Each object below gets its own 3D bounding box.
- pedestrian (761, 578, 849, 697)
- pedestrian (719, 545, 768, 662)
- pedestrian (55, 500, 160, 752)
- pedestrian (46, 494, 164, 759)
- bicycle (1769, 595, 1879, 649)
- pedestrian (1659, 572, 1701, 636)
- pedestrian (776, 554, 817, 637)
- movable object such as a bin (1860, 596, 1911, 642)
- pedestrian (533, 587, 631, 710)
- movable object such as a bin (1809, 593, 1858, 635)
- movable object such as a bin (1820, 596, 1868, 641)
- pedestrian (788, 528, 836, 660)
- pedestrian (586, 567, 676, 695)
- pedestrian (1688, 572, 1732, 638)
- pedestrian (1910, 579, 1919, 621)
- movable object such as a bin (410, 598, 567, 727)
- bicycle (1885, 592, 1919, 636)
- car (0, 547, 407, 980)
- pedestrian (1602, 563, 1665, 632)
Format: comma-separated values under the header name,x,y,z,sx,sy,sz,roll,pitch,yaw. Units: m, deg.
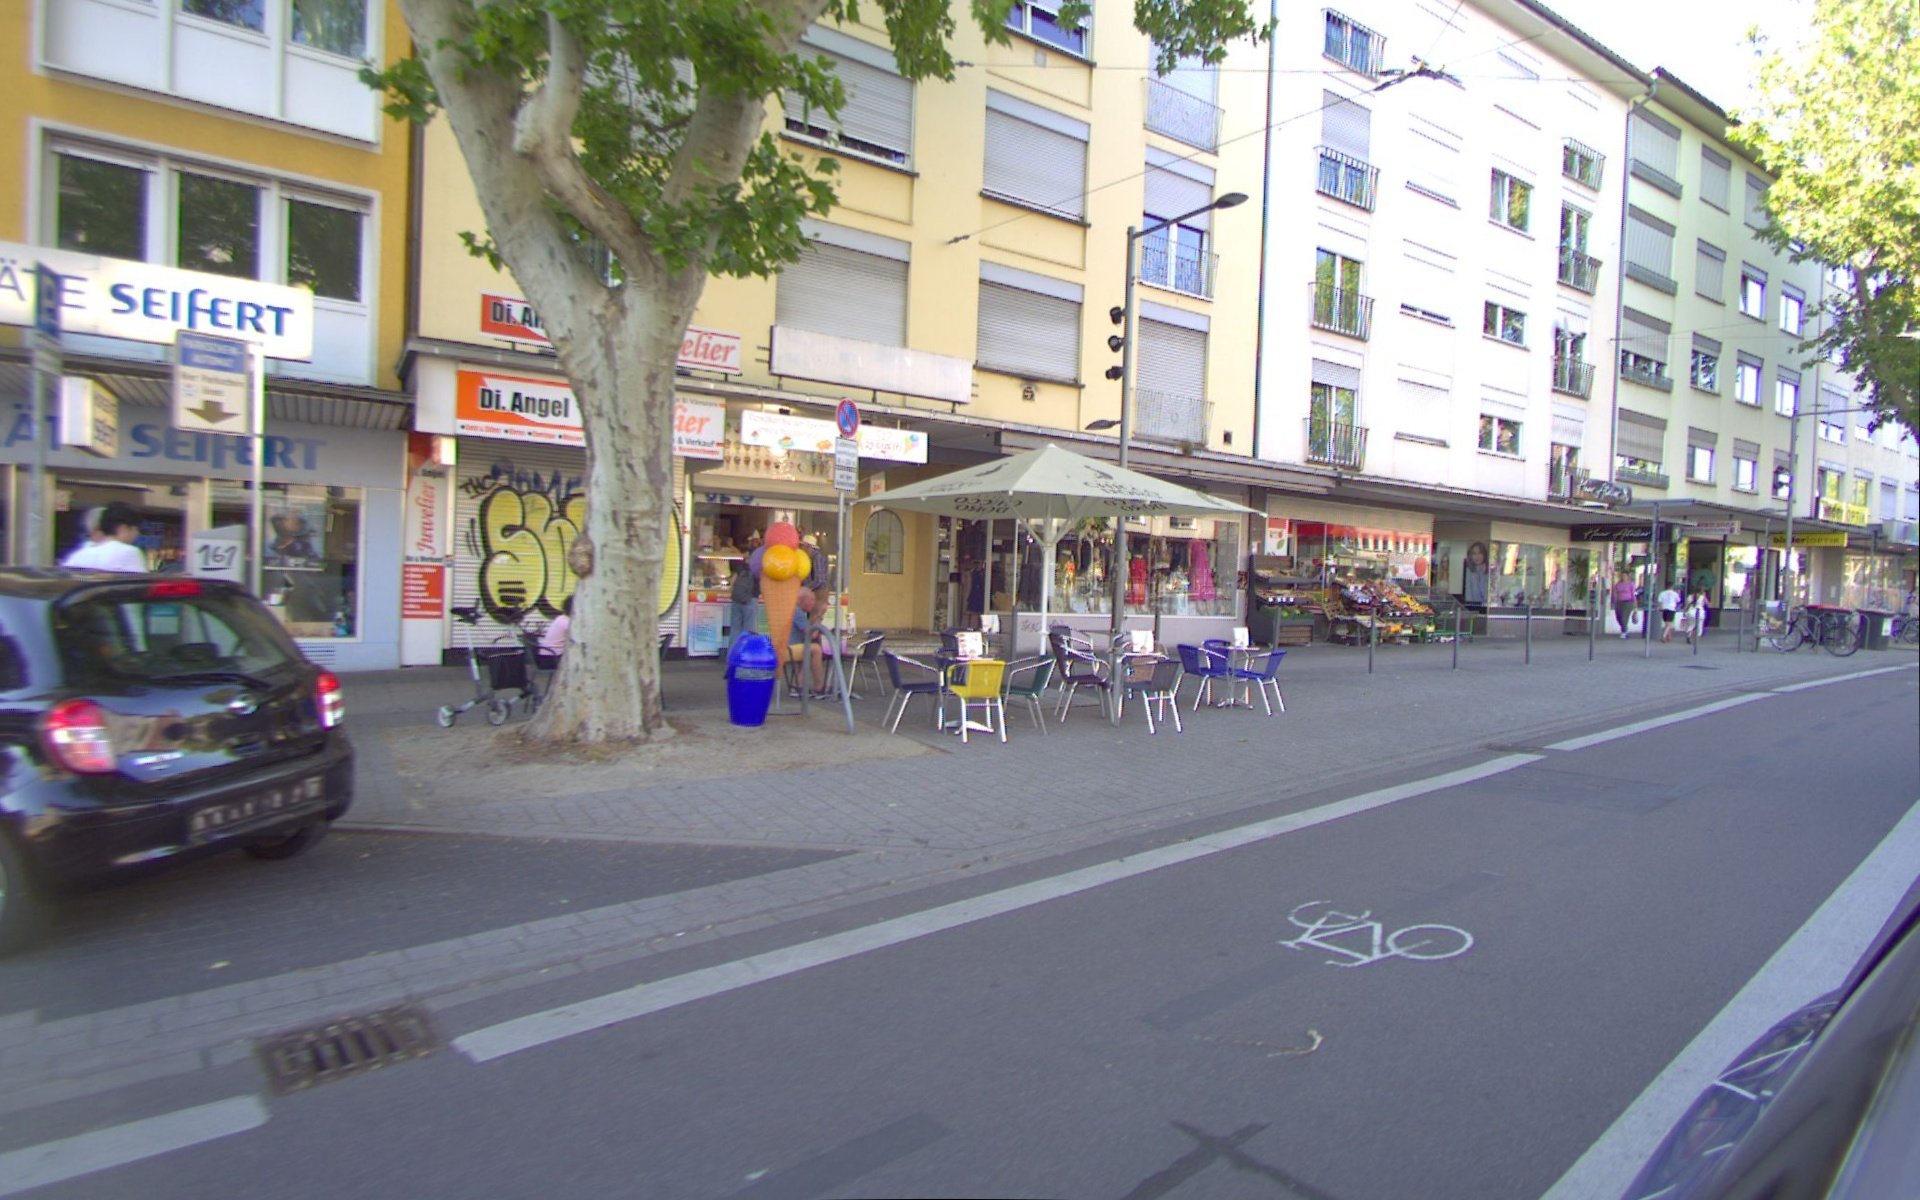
name,x,y,z,sx,sy,sz,roll,pitch,yaw
pedestrian,-1.693,0.385,11.031,0.732,1.240,0.607,0,1,-40
pedestrian,-3.010,0.032,14.122,0.624,1.564,0.628,1,5,-9
pedestrian,-6.536,0.181,7.766,0.512,1.855,0.470,2,2,28
pedestrian,-6.222,0.173,7.375,0.511,1.855,0.472,2,1,20
bicycle,20.889,0.514,24.513,0.507,1.118,1.918,1,4,-27
pedestrian,18.665,0.091,26.247,0.615,1.605,0.624,0,4,-34
pedestrian,-2.639,-0.072,16.341,0.498,1.312,0.427,0,2,-36
movable object such as a bin,24.226,0.484,26.493,0.631,1.115,0.726,0,6,-26
pedestrian,-3.652,0.443,9.777,0.737,1.129,0.584,0,0,-40
movable object such as a bin,24.077,0.385,27.904,0.630,1.085,0.726,1,3,-15
movable object such as a bin,23.661,0.489,27.090,0.632,1.084,0.725,0,7,-35
pedestrian,-2.102,-0.092,14.411,0.614,1.826,0.638,1,1,-4
pedestrian,-3.478,0.311,10.710,0.745,1.291,0.584,0,0,-40
pedestrian,19.064,0.119,25.715,0.615,1.605,0.638,0,4,-34
pedestrian,34.921,0.015,36.598,0.878,1.520,0.543,1,3,-33
movable object such as a bin,-4.065,0.506,8.767,0.917,1.036,0.835,0,0,18
bicycle,26.353,0.403,27.439,0.731,1.131,1.725,-3,4,-32
car,-4.818,0.526,4.811,3.549,1.559,1.737,1,2,10
pedestrian,18.207,-0.089,27.360,1.111,1.784,0.972,-1,3,-32
